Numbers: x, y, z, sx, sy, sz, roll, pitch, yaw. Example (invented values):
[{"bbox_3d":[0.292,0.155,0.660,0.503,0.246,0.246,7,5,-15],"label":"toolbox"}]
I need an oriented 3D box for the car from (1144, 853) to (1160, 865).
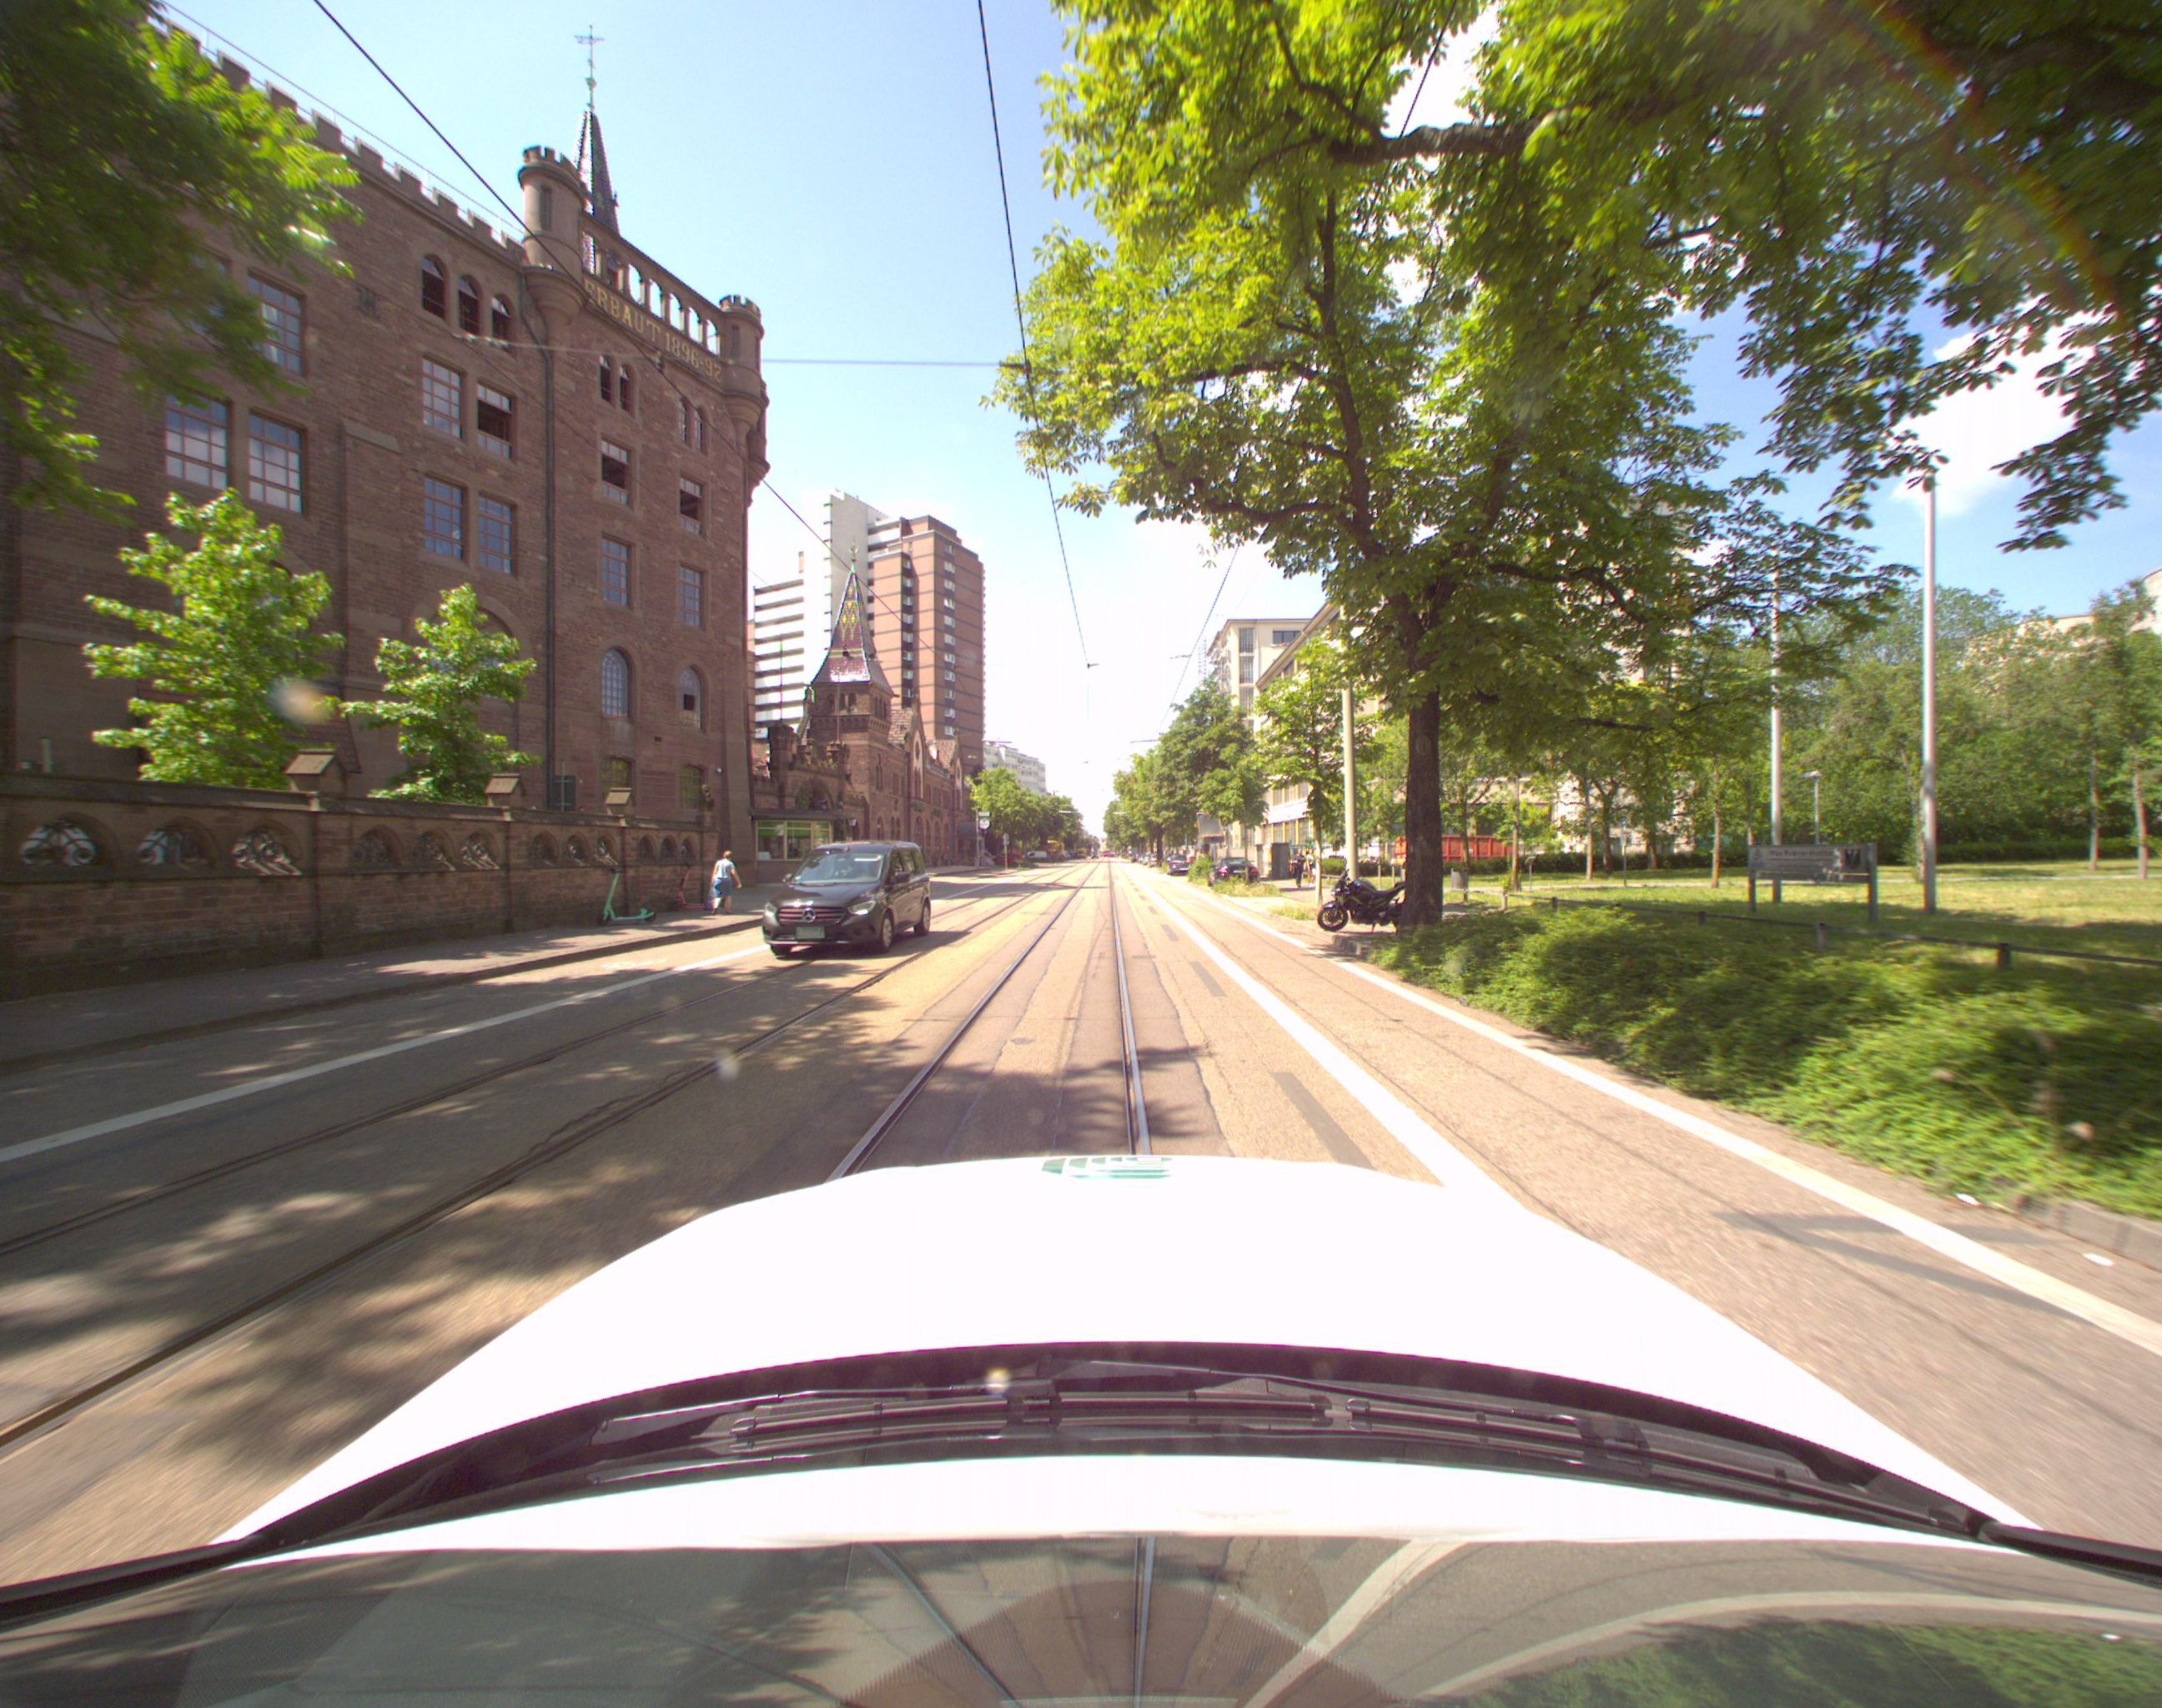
[{"bbox_3d":[8.675,0.593,99.771,1.665,1.517,4.202,-1,0,1],"label":"car"}]

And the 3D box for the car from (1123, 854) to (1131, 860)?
[{"bbox_3d":[11.067,0.686,194.528,1.634,1.485,3.871,-1,-1,-1],"label":"car"}]

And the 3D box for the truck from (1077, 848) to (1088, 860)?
[{"bbox_3d":[0.447,-0.019,210.642,2.350,2.852,7.385,-2,0,4],"label":"truck"}]

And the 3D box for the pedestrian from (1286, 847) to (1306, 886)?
[{"bbox_3d":[8.838,0.499,33.546,0.616,1.573,0.611,-2,0,2],"label":"pedestrian"}]

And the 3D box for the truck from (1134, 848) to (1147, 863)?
[{"bbox_3d":[10.273,0.185,141.033,2.007,2.488,5.958,-1,0,1],"label":"truck"}]

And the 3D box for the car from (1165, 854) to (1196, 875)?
[{"bbox_3d":[6.879,0.686,56.509,1.665,1.408,4.750,-1,0,1],"label":"car"}]

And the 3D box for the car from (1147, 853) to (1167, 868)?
[{"bbox_3d":[8.104,0.664,86.825,1.666,1.499,4.363,-1,0,-1],"label":"car"}]

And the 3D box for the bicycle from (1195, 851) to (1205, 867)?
[{"bbox_3d":[9.582,0.372,65.783,0.552,1.265,1.775,-3,0,2],"label":"bicycle"}]

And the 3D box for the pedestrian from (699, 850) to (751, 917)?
[{"bbox_3d":[-8.743,0.701,20.035,0.796,1.588,0.920,2,0,1],"label":"pedestrian"}]

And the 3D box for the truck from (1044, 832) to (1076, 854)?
[{"bbox_3d":[-3.853,-1.956,154.334,2.695,3.842,11.010,1,-1,16],"label":"truck"}]

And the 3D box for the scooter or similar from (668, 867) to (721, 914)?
[{"bbox_3d":[-9.699,0.902,20.471,0.325,1.127,1.230,1,0,30],"label":"scooter or similar"}]

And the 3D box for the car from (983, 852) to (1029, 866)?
[{"bbox_3d":[-8.544,0.599,92.522,4.790,1.566,1.984,0,0,-27],"label":"car"}]

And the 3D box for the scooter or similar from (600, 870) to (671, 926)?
[{"bbox_3d":[-9.290,0.914,17.004,1.232,1.127,0.344,2,-1,-45],"label":"scooter or similar"}]

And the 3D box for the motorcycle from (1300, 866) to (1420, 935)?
[{"bbox_3d":[5.178,0.836,15.218,2.036,1.213,0.617,-1,-2,41],"label":"motorcycle"}]

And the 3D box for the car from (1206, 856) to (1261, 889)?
[{"bbox_3d":[6.381,0.747,34.397,1.744,1.270,3.835,1,0,2],"label":"car"}]

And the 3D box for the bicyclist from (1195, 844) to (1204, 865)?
[{"bbox_3d":[9.588,0.039,65.831,0.578,1.648,0.599,-2,0,2],"label":"bicyclist"}]

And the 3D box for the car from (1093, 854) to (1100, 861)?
[{"bbox_3d":[3.900,0.782,206.848,1.824,1.681,4.187,-1,0,2],"label":"car"}]

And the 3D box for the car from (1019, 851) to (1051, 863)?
[{"bbox_3d":[-7.019,0.473,125.323,4.562,1.791,1.882,1,0,-31],"label":"car"}]

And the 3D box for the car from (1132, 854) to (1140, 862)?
[{"bbox_3d":[10.804,0.727,160.616,1.637,1.534,3.789,-1,0,3],"label":"car"}]

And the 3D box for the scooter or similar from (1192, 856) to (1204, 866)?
[{"bbox_3d":[9.679,0.581,67.455,0.758,0.807,1.556,-2,0,2],"label":"scooter or similar"}]

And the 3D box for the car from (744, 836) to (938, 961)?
[{"bbox_3d":[-3.855,0.639,13.933,1.897,1.788,4.257,-1,0,2],"label":"car"}]

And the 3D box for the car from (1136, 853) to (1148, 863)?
[{"bbox_3d":[9.826,0.631,130.607,1.816,1.471,4.406,-1,0,5],"label":"car"}]

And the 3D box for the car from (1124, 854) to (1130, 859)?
[{"bbox_3d":[13.201,0.715,235.505,1.586,1.617,3.909,-1,-1,2],"label":"car"}]

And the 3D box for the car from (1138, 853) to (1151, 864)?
[{"bbox_3d":[9.344,0.629,119.570,1.816,1.471,4.490,-1,0,3],"label":"car"}]

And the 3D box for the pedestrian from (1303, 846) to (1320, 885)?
[{"bbox_3d":[9.483,0.487,33.452,0.511,1.573,0.545,-2,0,2],"label":"pedestrian"}]
